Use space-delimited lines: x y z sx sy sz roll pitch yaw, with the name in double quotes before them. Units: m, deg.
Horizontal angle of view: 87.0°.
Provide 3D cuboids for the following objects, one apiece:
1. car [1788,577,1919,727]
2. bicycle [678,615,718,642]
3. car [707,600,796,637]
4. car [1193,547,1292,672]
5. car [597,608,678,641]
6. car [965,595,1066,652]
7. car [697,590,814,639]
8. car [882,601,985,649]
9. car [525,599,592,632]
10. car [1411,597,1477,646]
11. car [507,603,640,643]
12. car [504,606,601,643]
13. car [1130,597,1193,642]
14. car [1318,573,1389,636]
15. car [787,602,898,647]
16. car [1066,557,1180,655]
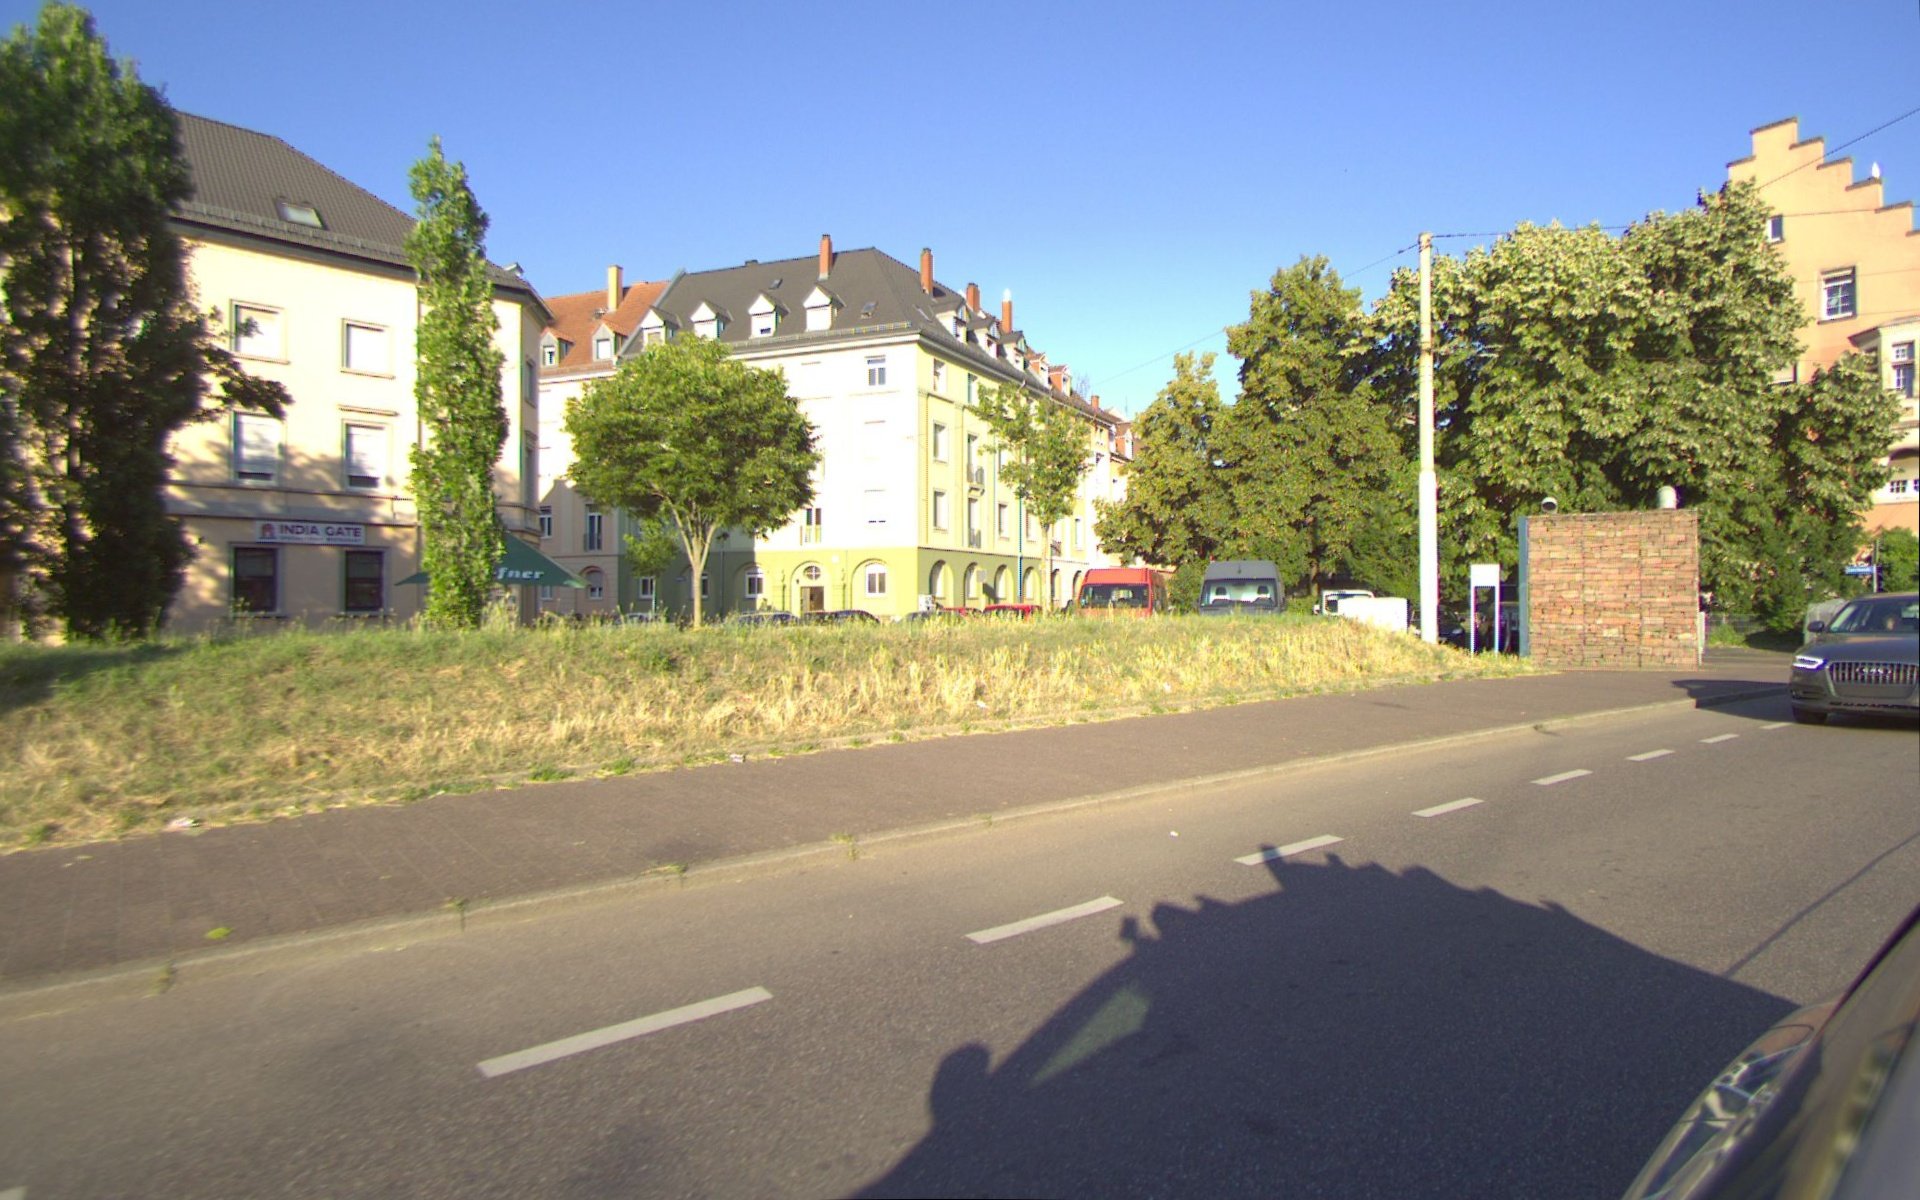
"car" 11.738 0.549 12.154 3.991 1.607 1.772 0 -1 -35
"bicycle" -9.967 1.076 38.518 0.484 0.981 1.816 -1 0 21
"car" -9.138 0.803 44.413 3.601 1.549 1.521 -1 0 23
"car" 7.123 0.177 25.083 2.017 2.699 6.177 0 1 19
"car" -14.903 1.127 46.692 3.588 1.437 1.306 -1 0 23
"car" 1.576 0.583 27.206 1.756 1.391 3.866 0 1 19
"car" -5.776 0.370 28.950 1.684 1.274 3.684 0 1 19
"car" -0.647 0.646 27.774 1.684 1.176 3.684 0 1 19
"car" -19.353 0.762 48.775 2.975 1.534 1.306 -1 0 23
"car" 15.992 0.671 33.561 1.610 1.477 3.423 0 0 20
"car" -11.271 0.646 29.547 3.495 1.058 1.513 0 1 19
"car" -16.397 0.980 40.727 3.595 1.402 1.545 -1 0 23
"car" 7.493 0.687 37.457 1.900 1.559 3.886 -1 0 17
"car" 13.394 0.124 34.681 1.900 2.004 4.723 0 0 17
"car" -3.188 0.632 28.128 1.684 1.103 3.684 0 1 19
"car" 4.324 0.110 26.080 2.017 2.242 5.382 0 1 19
